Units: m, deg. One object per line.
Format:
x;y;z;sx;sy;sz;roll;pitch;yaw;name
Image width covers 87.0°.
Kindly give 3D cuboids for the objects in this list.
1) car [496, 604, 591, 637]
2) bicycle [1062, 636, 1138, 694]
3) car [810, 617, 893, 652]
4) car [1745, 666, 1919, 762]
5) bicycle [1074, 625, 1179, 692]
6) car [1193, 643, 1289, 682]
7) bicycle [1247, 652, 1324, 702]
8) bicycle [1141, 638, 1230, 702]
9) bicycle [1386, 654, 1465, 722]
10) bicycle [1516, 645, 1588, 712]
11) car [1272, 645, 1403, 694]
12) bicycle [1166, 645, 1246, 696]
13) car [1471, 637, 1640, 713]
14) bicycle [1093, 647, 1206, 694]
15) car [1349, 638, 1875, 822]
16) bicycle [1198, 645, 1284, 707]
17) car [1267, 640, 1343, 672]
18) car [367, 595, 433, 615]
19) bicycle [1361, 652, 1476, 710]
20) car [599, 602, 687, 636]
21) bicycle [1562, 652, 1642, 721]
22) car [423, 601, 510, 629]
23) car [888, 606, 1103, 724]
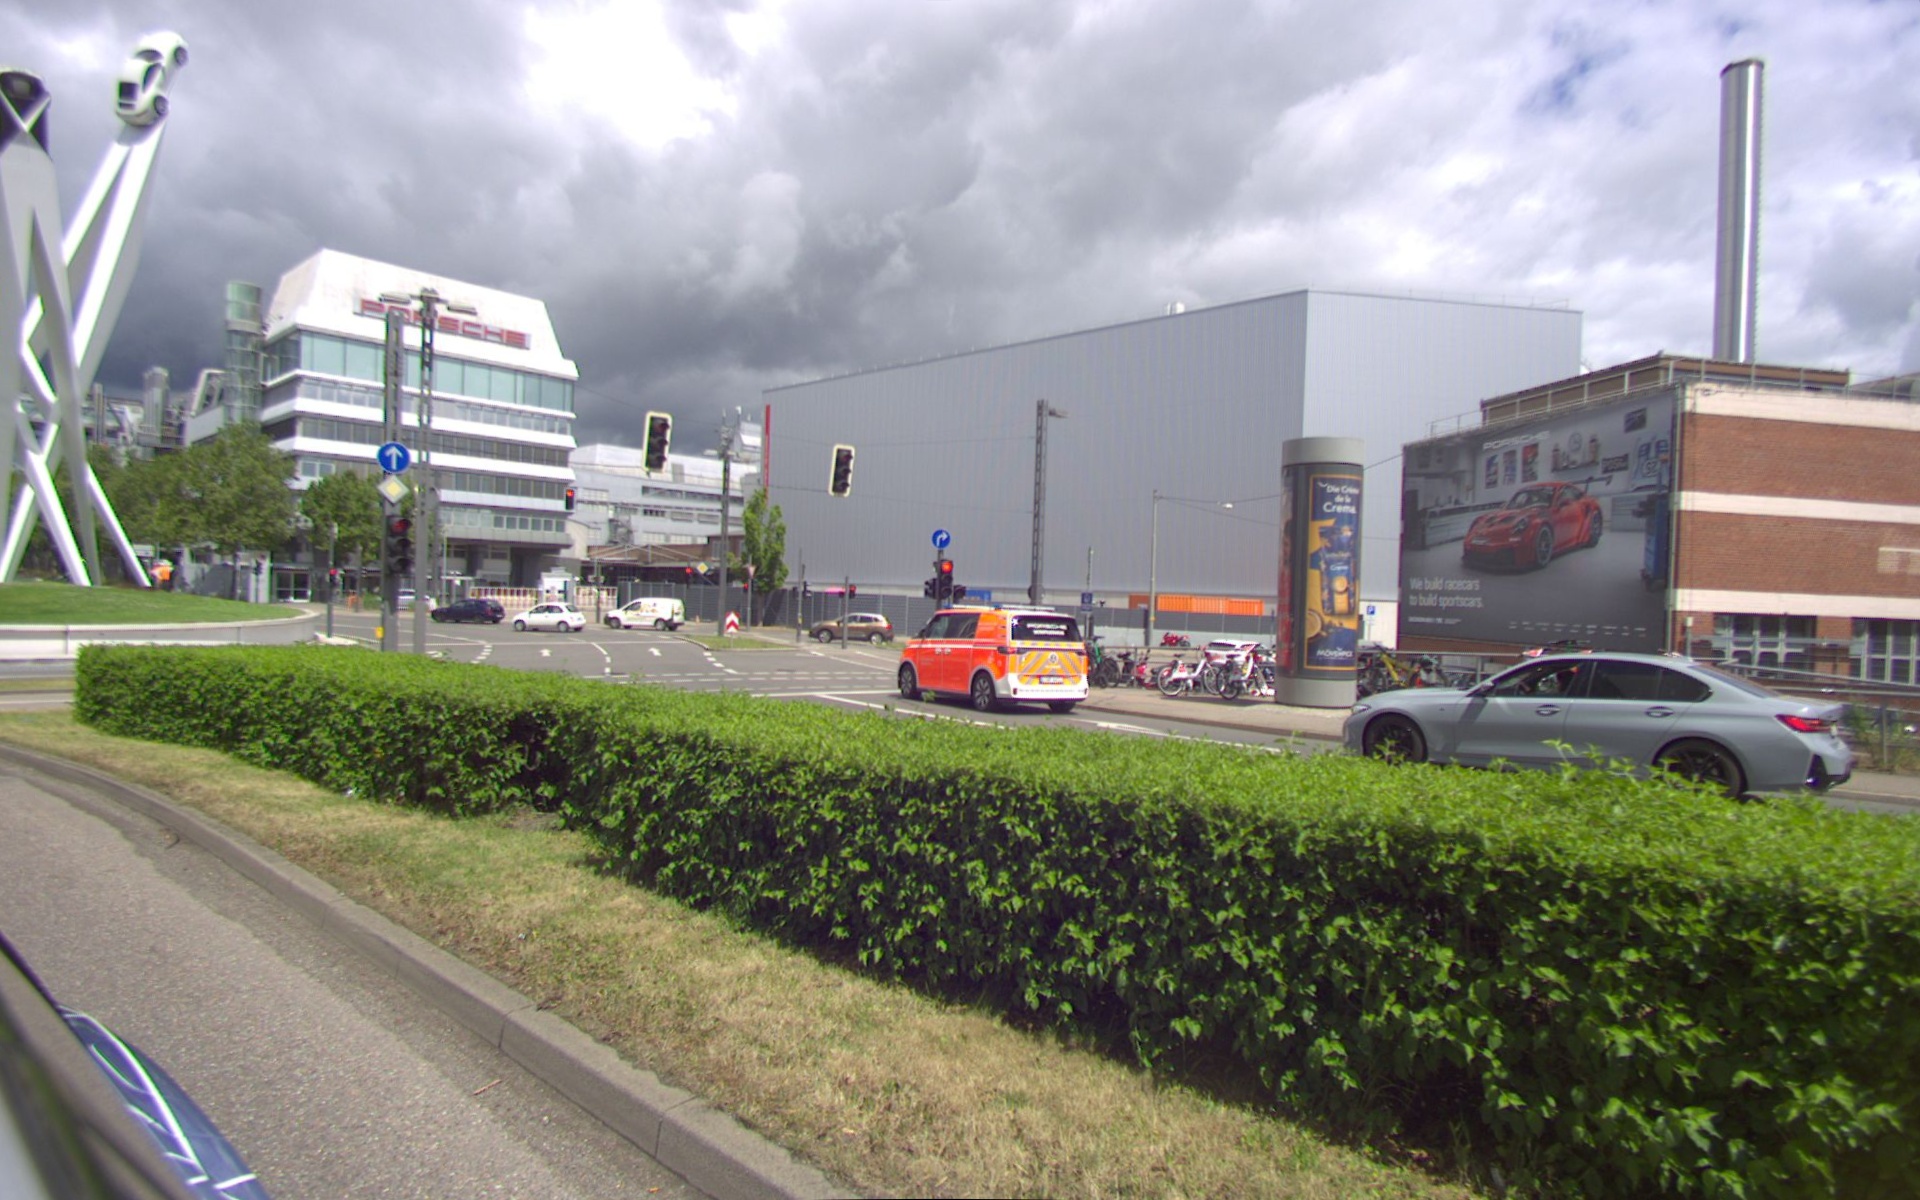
-21.842;1.063;53.149;4.195;1.591;1.995;1;-1;8;car
3.291;1.494;23.660;1.860;1.277;0.669;1;-1;-39;bicycle
-5.524;1.772;51.926;4.133;1.708;1.956;1;-1;-4;car
15.046;1.848;16.442;3.572;1.330;1.435;0;-1;41;car
5.267;1.818;32.009;3.217;2.029;1.078;1;-1;-25;bicycle
11.253;2.470;40.371;4.122;1.380;1.624;1;-1;-40;car
7.944;1.850;24.673;2.024;1.121;0.674;1;-1;-33;bicycle
4.876;1.486;21.868;1.859;1.277;0.851;1;-1;-36;bicycle
10.029;1.871;21.782;1.925;1.355;0.713;1;-1;-36;bicycle
9.788;1.273;16.802;0.616;0.996;1.938;0;-2;18;bicycle
12.751;2.308;34.196;3.931;1.517;1.757;1;-1;-20;car
6.522;1.854;26.805;2.077;1.265;0.742;1;-1;-29;bicycle
15.893;1.964;27.030;3.931;1.875;1.757;1;-1;-20;car
5.466;2.008;29.139;3.028;1.276;1.167;1;-1;-22;bicycle
6.761;1.204;10.873;4.494;1.432;1.776;0;-2;45;car
5.796;1.533;20.819;2.011;1.176;0.622;1;-1;-39;bicycle
14.863;2.385;43.503;3.562;1.251;1.471;1;-1;-40;car
-41.044;0.351;74.239;3.892;1.388;1.633;1;-1;-13;car
8.692;1.514;19.250;0.513;0.996;1.951;2;-2;-44;bicycle
-17.981;1.078;57.503;4.353;1.843;1.994;1;-1;10;car
10.408;1.372;16.478;0.616;0.996;1.938;0;-2;18;bicycle
-28.564;0.875;58.654;4.193;1.523;1.934;1;-1;7;car
0.531;1.122;19.567;1.966;1.973;4.642;1;-1;-30;car
